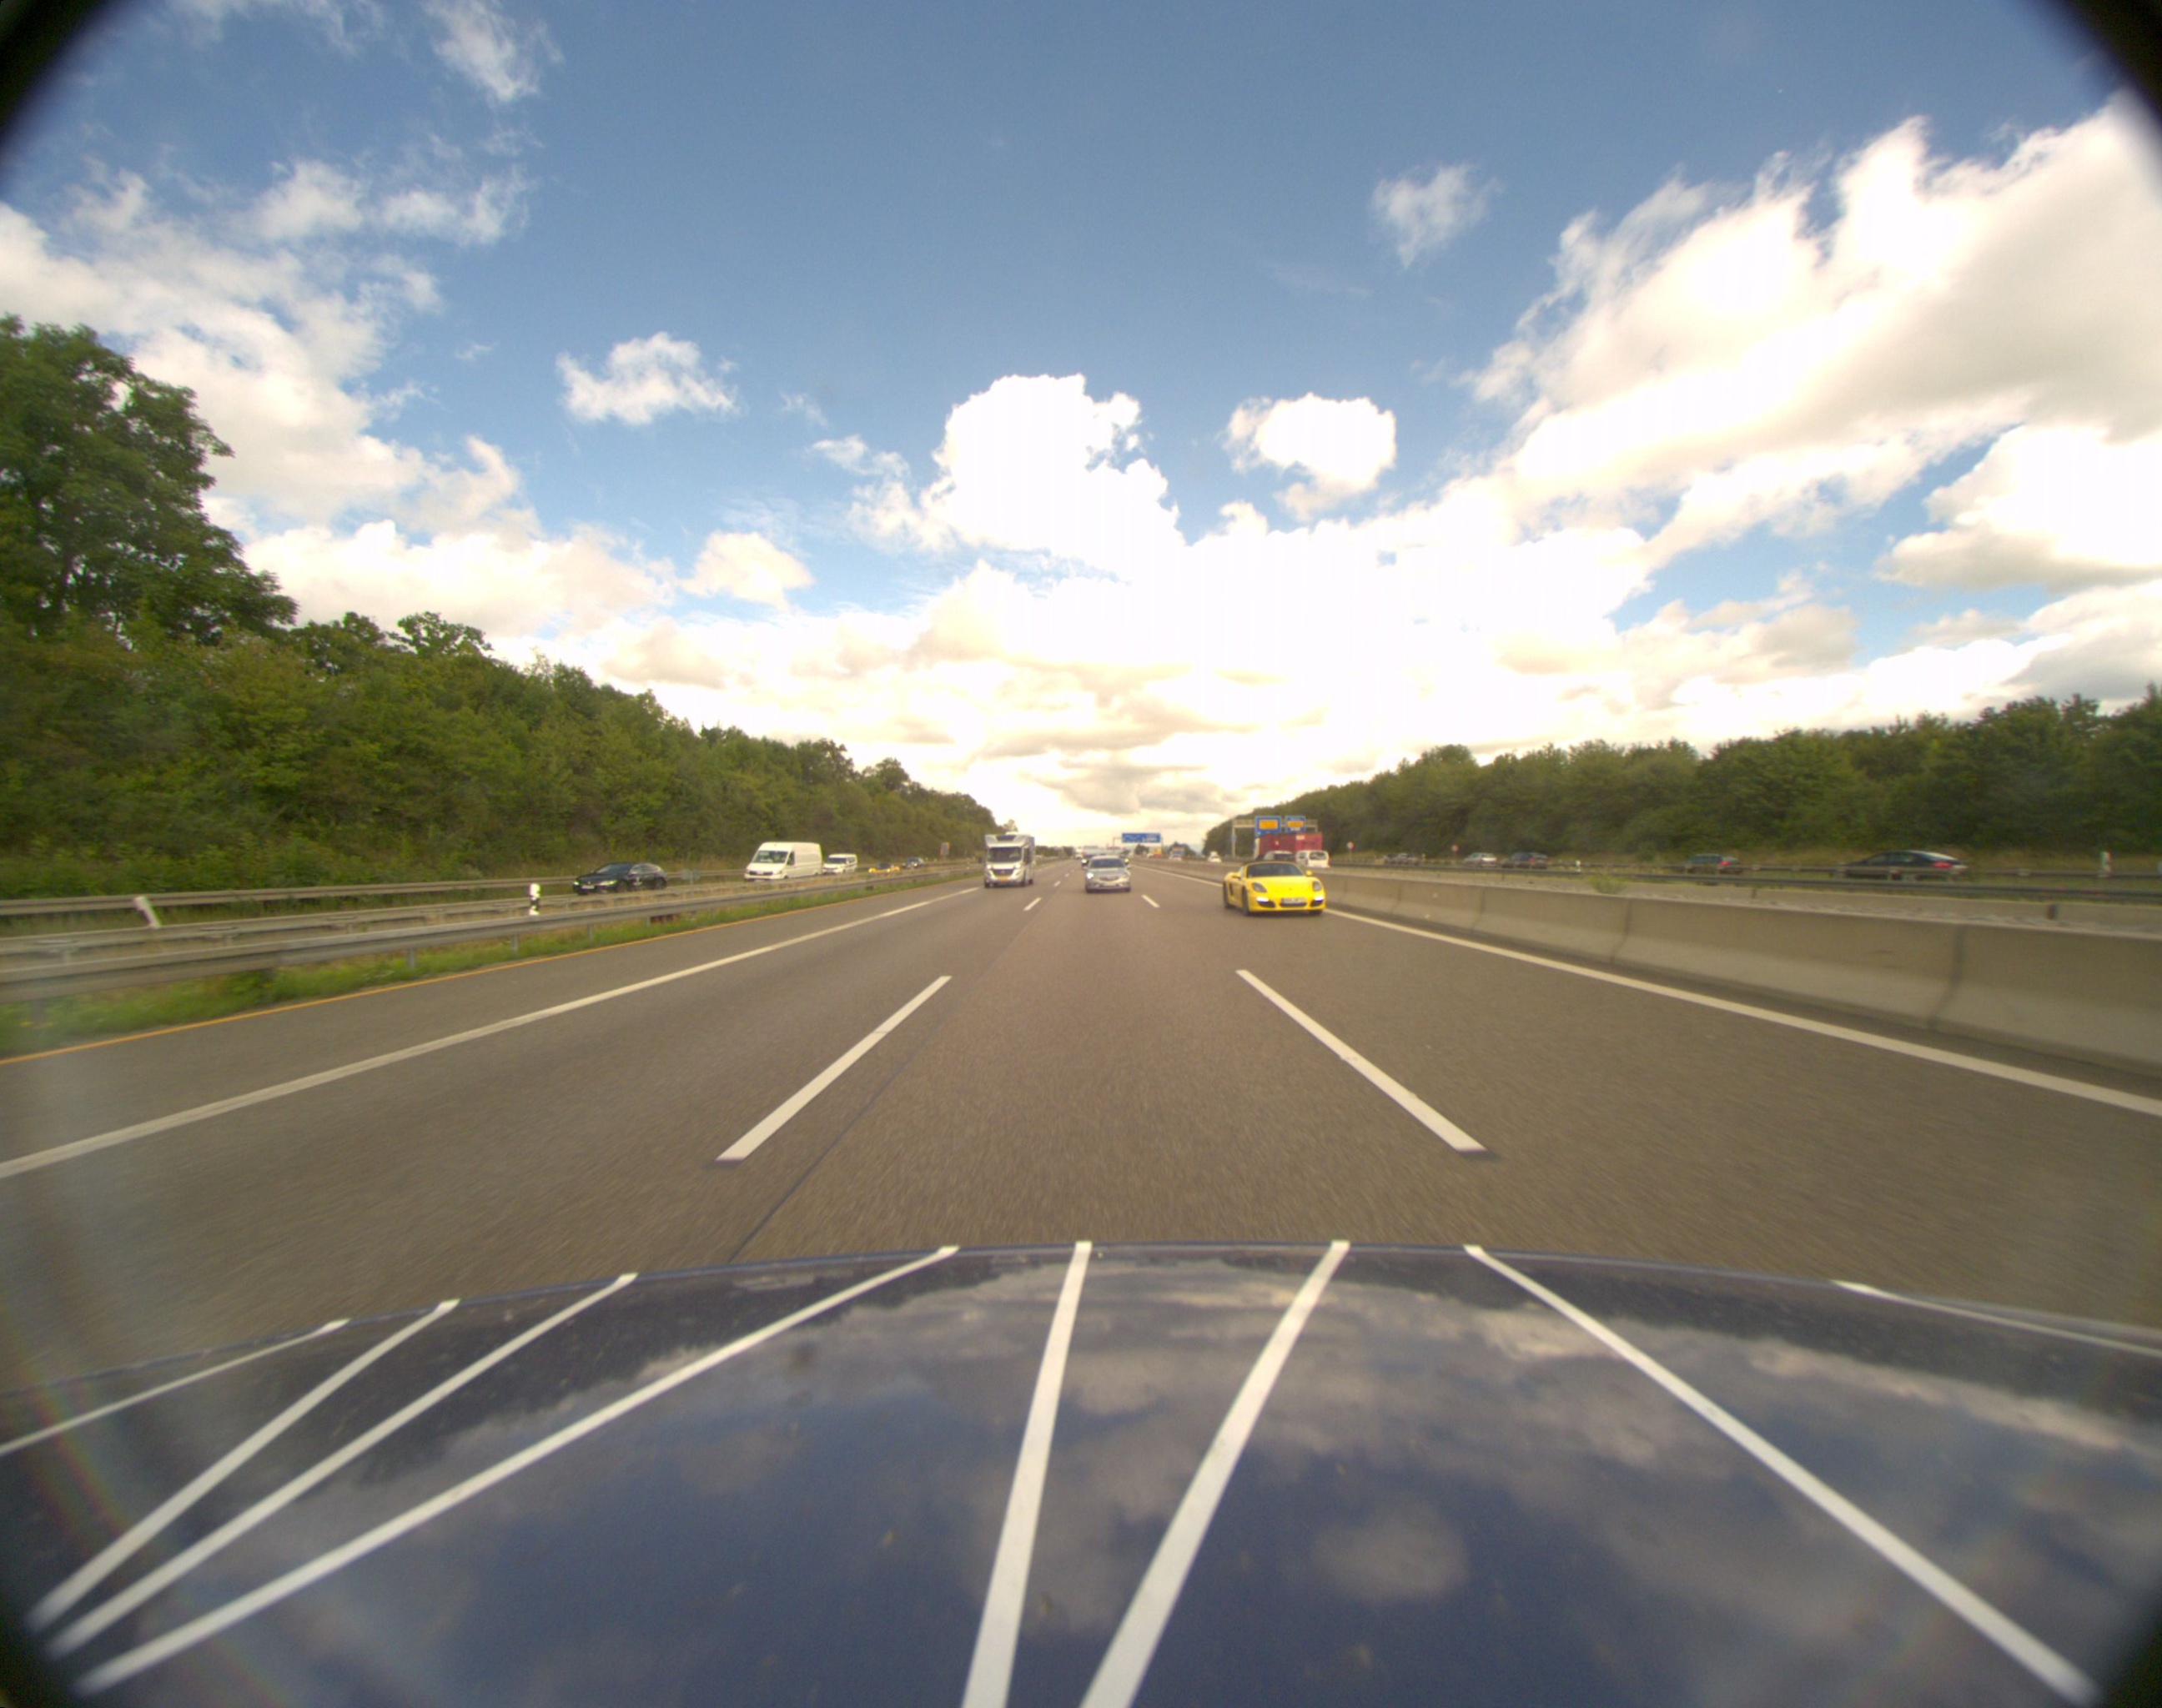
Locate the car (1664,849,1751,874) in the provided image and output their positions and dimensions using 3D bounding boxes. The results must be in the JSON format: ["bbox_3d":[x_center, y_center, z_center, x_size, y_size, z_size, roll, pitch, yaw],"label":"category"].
[{"bbox_3d":[41.708,0.443,50.738,1.751,1.556,4.804,-1,0,-1],"label":"car"}]

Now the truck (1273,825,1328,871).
[{"bbox_3d":[21.682,-0.561,75.658,3.054,4.264,8.588,-1,0,0],"label":"truck"}]

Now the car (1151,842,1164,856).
[{"bbox_3d":[24.614,-1.557,245.047,2.913,4.300,14.145,-1,0,1],"label":"car"}]

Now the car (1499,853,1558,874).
[{"bbox_3d":[34.861,0.704,59.357,1.768,1.523,4.942,-1,0,0],"label":"car"}]

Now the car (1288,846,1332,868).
[{"bbox_3d":[16.987,0.184,56.503,1.768,1.523,4.942,-1,0,0],"label":"car"}]

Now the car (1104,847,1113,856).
[{"bbox_3d":[6.417,-0.491,174.939,1.998,2.002,4.589,-1,0,1],"label":"car"}]

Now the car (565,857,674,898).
[{"bbox_3d":[-20.042,0.963,33.297,1.848,1.593,4.764,1,0,0],"label":"car"}]

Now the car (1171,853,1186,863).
[{"bbox_3d":[14.936,0.630,116.617,1.692,1.496,4.643,-1,0,1],"label":"car"}]

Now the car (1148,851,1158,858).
[{"bbox_3d":[15.344,0.084,161.320,1.761,1.394,4.074,-1,0,1],"label":"car"}]

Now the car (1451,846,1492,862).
[{"bbox_3d":[38.859,-0.008,75.738,1.733,1.525,4.452,-1,1,0],"label":"car"}]

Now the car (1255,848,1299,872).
[{"bbox_3d":[13.297,0.353,51.891,1.768,1.523,4.942,-1,0,1],"label":"car"}]

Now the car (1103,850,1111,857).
[{"bbox_3d":[7.724,-0.088,225.649,1.998,1.846,4.286,-1,1,1],"label":"car"}]

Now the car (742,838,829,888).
[{"bbox_3d":[-16.315,0.473,42.425,2.075,2.539,6.743,-1,0,1],"label":"car"}]

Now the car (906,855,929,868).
[{"bbox_3d":[-19.194,0.854,89.268,1.716,1.407,4.169,-1,0,1],"label":"car"}]

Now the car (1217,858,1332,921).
[{"bbox_3d":[4.631,0.793,18.811,1.811,1.307,4.247,0,0,1],"label":"car"}]

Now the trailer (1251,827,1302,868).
[{"bbox_3d":[21.708,-0.754,85.036,3.054,4.264,10.654,-1,0,0],"label":"trailer"}]

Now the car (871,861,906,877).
[{"bbox_3d":[-15.760,1.185,62.420,1.716,1.175,4.169,-2,0,1],"label":"car"}]

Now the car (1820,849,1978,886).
[{"bbox_3d":[33.836,0.505,31.654,1.719,1.401,4.520,-1,0,0],"label":"car"}]

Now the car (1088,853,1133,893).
[{"bbox_3d":[1.155,0.735,31.512,1.687,1.476,4.615,-2,0,0],"label":"car"}]

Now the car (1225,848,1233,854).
[{"bbox_3d":[44.618,-0.957,229.305,1.851,1.652,4.419,-1,0,1],"label":"car"}]

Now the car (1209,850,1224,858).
[{"bbox_3d":[21.413,0.024,120.445,1.659,1.186,4.130,-1,0,1],"label":"car"}]

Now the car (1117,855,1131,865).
[{"bbox_3d":[5.803,0.740,103.021,1.593,1.307,3.978,0,0,1],"label":"car"}]

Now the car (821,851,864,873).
[{"bbox_3d":[-19.602,0.625,62.598,1.848,1.741,4.764,-2,0,1],"label":"car"}]

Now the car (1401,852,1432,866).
[{"bbox_3d":[38.895,0.557,88.157,1.768,1.523,4.193,-1,0,0],"label":"car"}]

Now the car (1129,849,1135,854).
[{"bbox_3d":[16.959,-0.804,253.272,1.670,1.393,4.534,-1,0,1],"label":"car"}]

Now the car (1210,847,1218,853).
[{"bbox_3d":[45.180,-1.407,258.362,1.998,2.221,5.891,-1,0,2],"label":"car"}]

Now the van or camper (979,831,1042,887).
[{"bbox_3d":[-3.685,0.227,41.291,2.475,2.706,7.661,-2,0,1],"label":"van or camper"}]

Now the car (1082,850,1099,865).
[{"bbox_3d":[1.083,0.388,84.734,1.876,1.626,4.859,-2,0,1],"label":"car"}]
